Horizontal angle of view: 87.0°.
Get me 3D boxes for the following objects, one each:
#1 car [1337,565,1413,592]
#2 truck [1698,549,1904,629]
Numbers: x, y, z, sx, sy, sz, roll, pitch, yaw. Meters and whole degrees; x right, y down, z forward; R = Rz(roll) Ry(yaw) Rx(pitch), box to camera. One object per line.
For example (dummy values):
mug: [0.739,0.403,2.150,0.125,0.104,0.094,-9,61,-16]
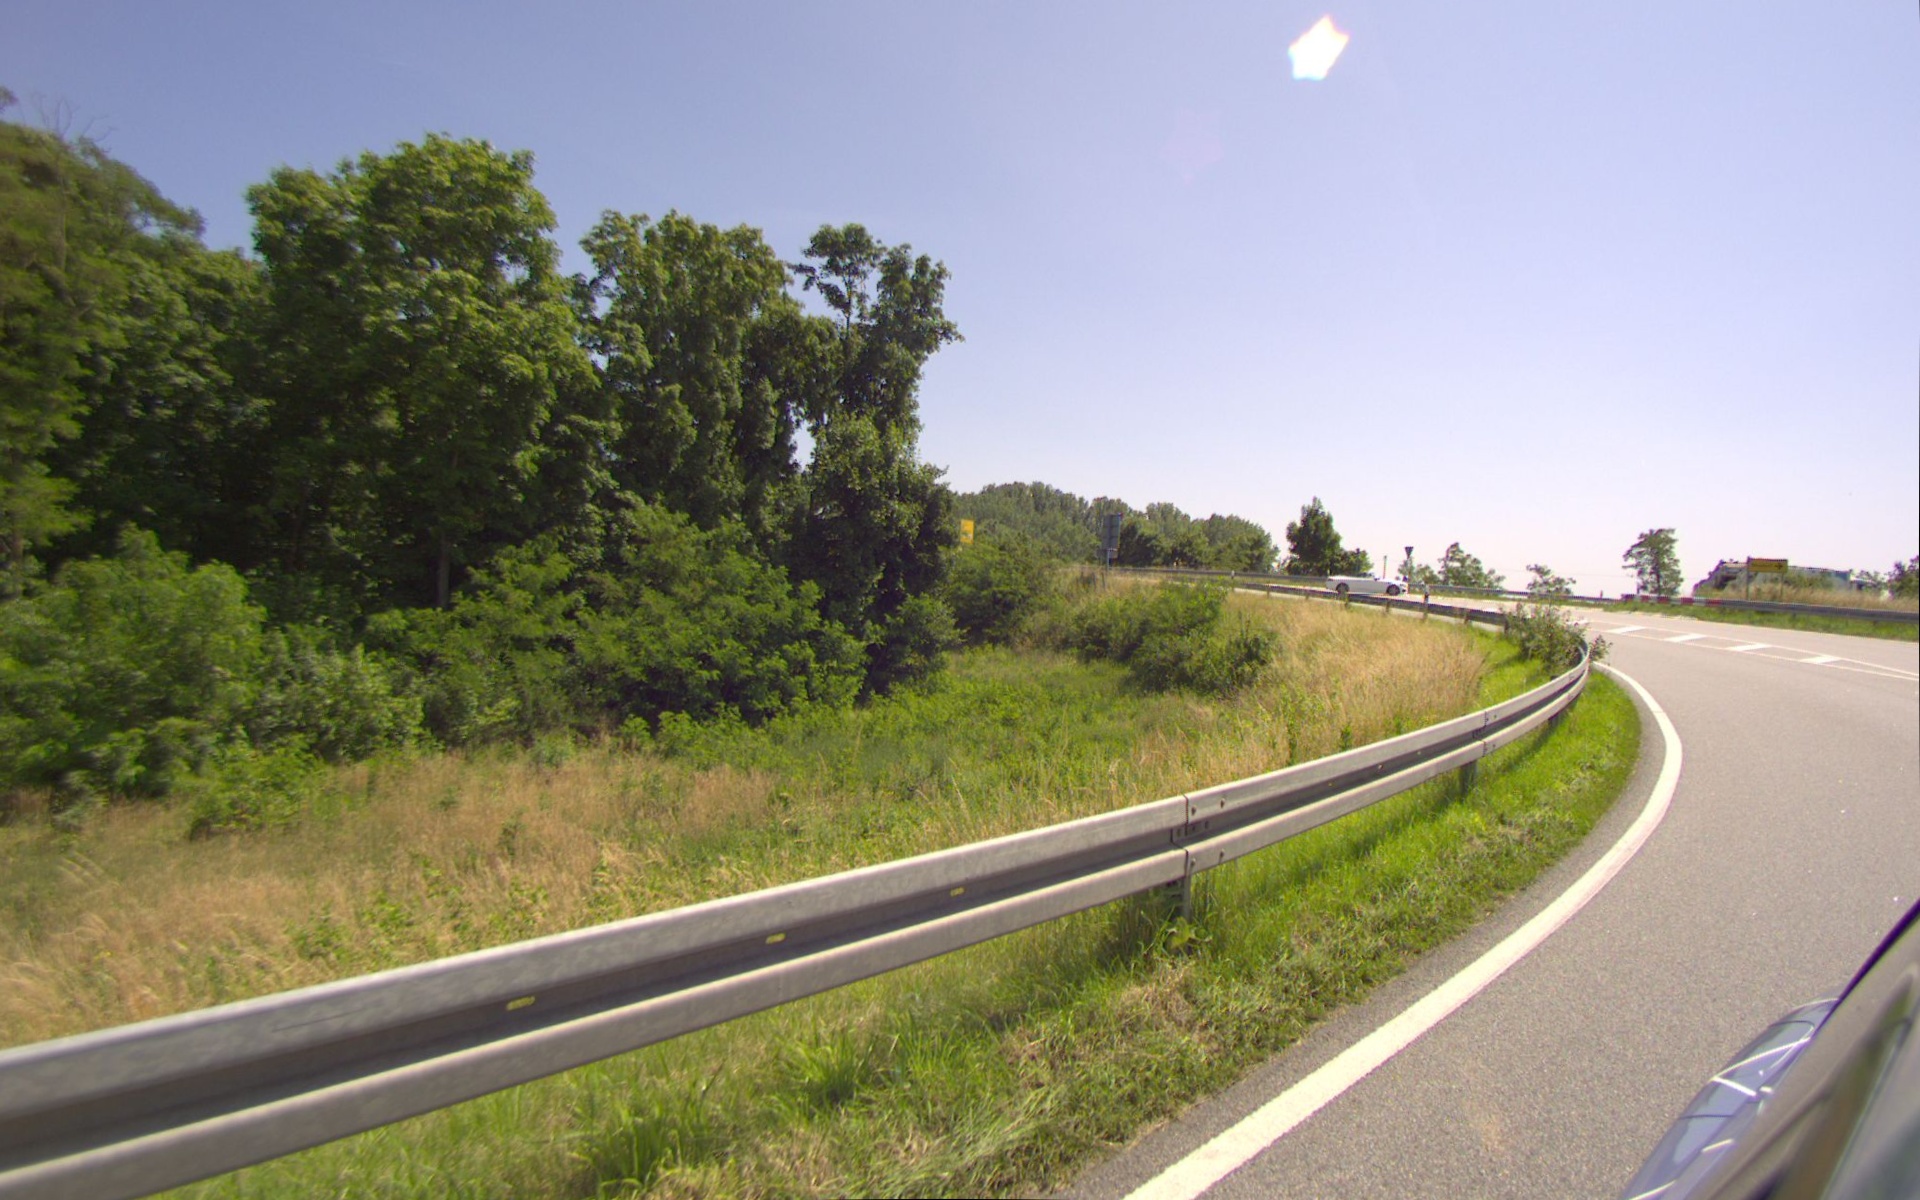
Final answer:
car: [24.623,-1.264,60.077,4.069,1.433,1.798,2,0,26]
truck: [49.476,-0.636,59.678,9.754,3.714,2.824,5,1,-3]
